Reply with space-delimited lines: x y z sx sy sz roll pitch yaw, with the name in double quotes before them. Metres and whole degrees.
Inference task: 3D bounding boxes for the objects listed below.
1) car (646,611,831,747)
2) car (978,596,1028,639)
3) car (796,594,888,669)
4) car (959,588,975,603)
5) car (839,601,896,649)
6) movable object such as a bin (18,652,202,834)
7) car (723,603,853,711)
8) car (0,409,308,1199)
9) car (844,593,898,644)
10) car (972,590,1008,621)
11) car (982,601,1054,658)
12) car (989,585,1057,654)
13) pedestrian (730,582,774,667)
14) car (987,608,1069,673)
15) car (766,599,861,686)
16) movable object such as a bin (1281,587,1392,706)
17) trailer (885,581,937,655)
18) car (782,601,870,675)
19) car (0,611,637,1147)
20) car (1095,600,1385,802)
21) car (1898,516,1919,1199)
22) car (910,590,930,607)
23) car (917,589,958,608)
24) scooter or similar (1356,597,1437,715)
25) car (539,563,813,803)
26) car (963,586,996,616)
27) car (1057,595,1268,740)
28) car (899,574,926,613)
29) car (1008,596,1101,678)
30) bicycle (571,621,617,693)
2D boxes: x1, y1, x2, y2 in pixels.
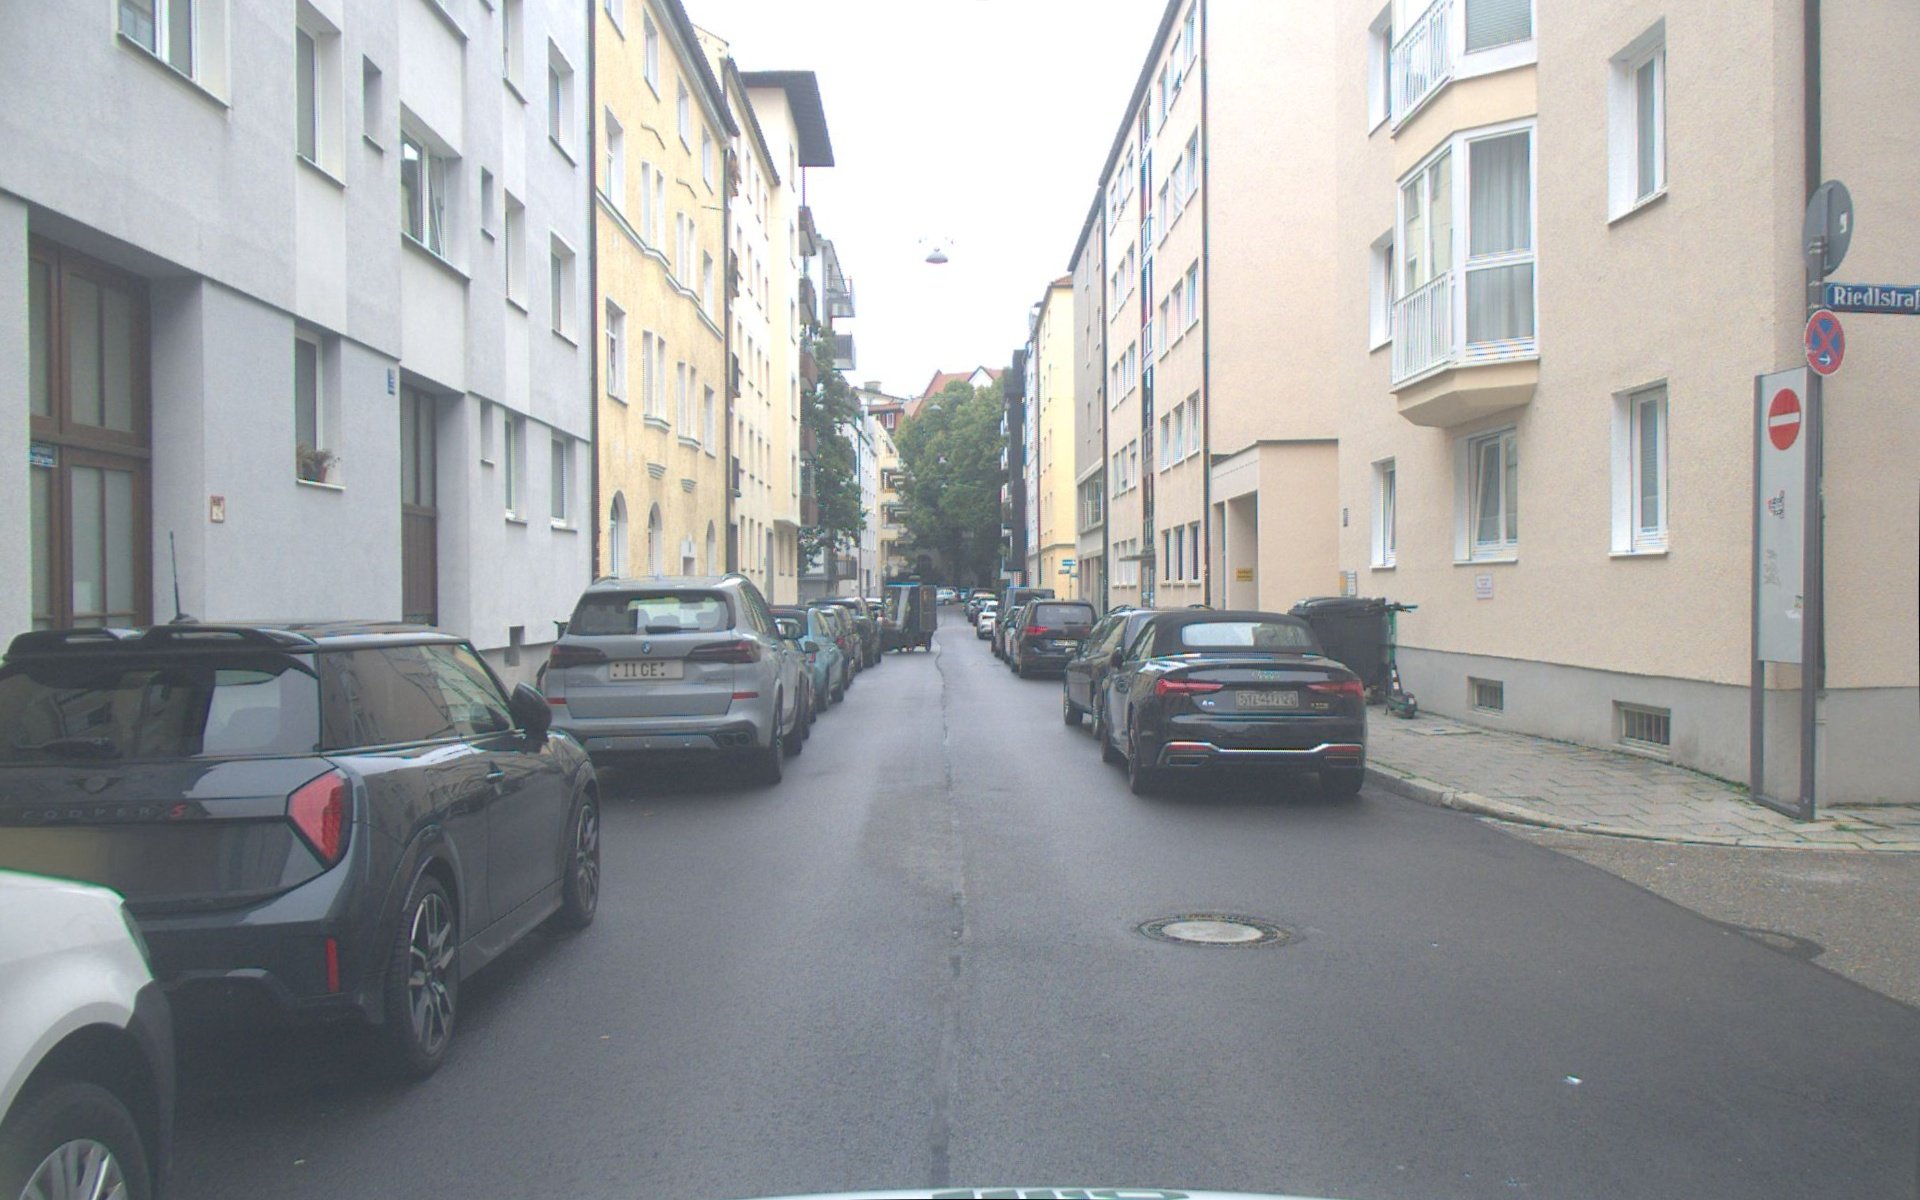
"car" -2.601 0.879 20.290 1.775 1.410 4.249 -2 0 -2
"car" 1.666 0.676 65.792 1.782 1.432 3.952 1 3 -1
"car" -2.826 0.736 40.590 1.840 1.689 4.415 -1 0 1
"car" 0.717 -0.467 173.268 1.609 1.407 3.745 -3 0 -1
"car" -2.933 0.772 53.131 1.618 1.461 3.802 -1 0 0
"movable object such as a bin" -5.417 0.898 10.574 0.790 1.069 0.622 3 0 -1
"car" -2.542 0.814 25.084 1.530 1.486 3.404 -1 0 1
"car" -2.393 0.620 1.674 1.688 1.820 4.249 -2 -1 1
"car" -3.112 0.636 58.402 1.730 1.704 4.366 -1 0 -1
"car" 1.545 0.246 86.098 1.715 1.495 4.342 2 1 -1
"car" 1.573 0.798 46.238 1.677 1.512 4.242 1 0 -3
"car" 1.905 0.559 51.247 1.716 2.010 4.341 2 1 -3
"pedestrian" -4.485 0.521 35.740 0.822 1.795 1.067 0 0 -1
"car" 1.648 0.977 41.256 1.677 1.512 4.242 1 0 -3
"car" -2.684 0.744 30.902 1.531 1.486 3.762 -1 0 -2
"movable object such as a bin" 4.881 0.587 21.554 1.011 1.448 1.586 -2 0 -1
"trailer" -1.477 0.538 50.331 1.327 2.153 3.319 -1 -1 2
"car" -2.870 0.781 35.938 1.530 1.486 3.476 -1 0 1
"car" -2.430 0.813 6.469 1.618 1.436 3.733 -2 -1 -1
"car" 2.193 0.738 14.090 1.795 1.430 4.411 1 0 1
"car" 2.589 0.679 0.730 1.795 1.650 4.410 1 0 -1
"car" -3.529 -0.150 146.219 1.609 1.407 3.482 -3 0 -1
"car" -2.128 -0.154 156.020 3.808 1.612 1.647 -3 0 -2
"scooter or similar" 5.016 0.629 19.047 0.564 1.288 1.136 -2 0 -1
"car" -2.431 0.656 15.318 1.825 1.801 4.733 -2 0 -2
"car" 1.125 0.050 96.037 1.648 1.595 4.414 2 1 -2
"car" 2.259 0.718 19.584 1.683 1.497 4.528 1 0 -3
"car" -3.658 -0.511 127.406 1.897 2.850 4.532 -3 0 -1
"car" 1.983 0.759 35.735 1.677 1.636 4.243 1 0 -1
"bicycle" -5.559 0.847 25.174 0.387 1.049 1.570 0 0 -1
